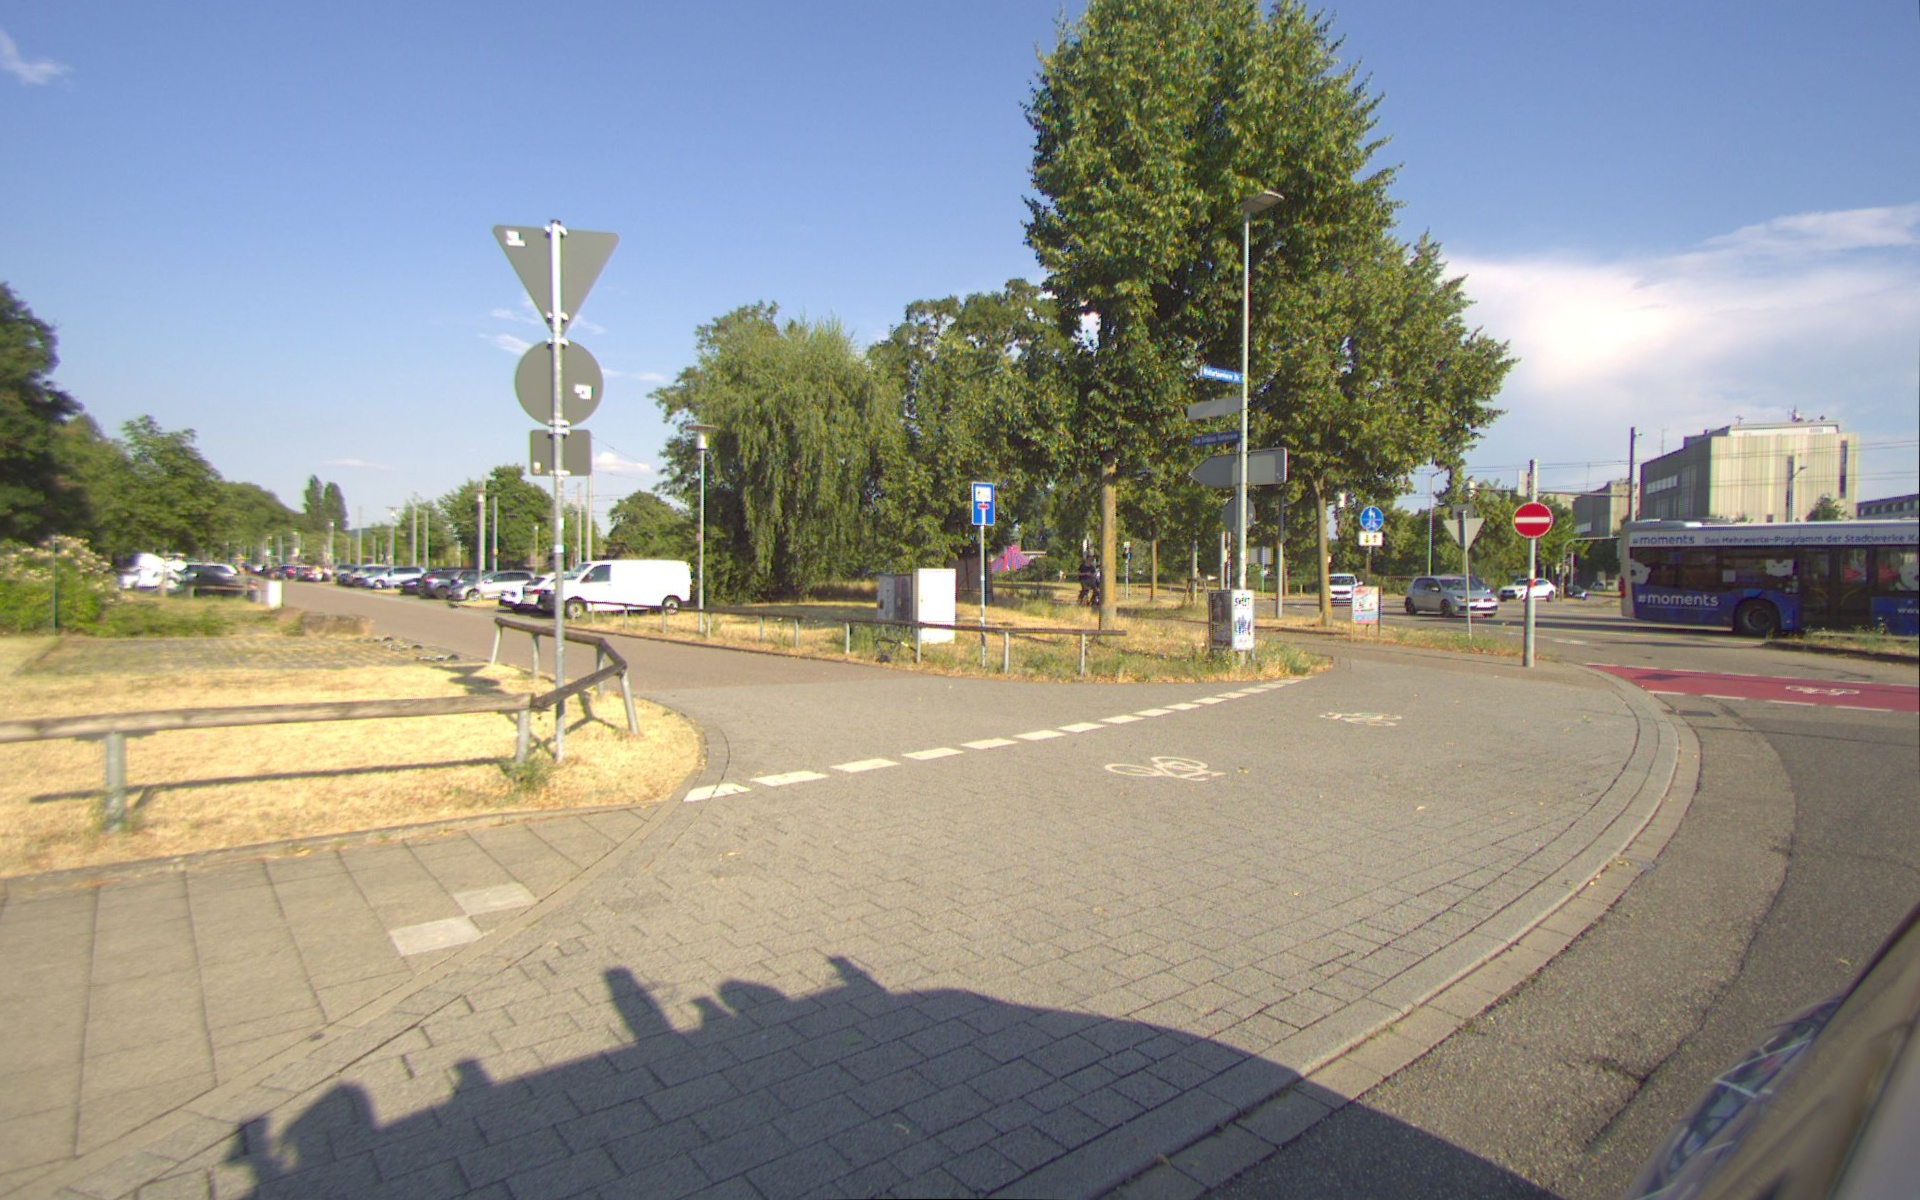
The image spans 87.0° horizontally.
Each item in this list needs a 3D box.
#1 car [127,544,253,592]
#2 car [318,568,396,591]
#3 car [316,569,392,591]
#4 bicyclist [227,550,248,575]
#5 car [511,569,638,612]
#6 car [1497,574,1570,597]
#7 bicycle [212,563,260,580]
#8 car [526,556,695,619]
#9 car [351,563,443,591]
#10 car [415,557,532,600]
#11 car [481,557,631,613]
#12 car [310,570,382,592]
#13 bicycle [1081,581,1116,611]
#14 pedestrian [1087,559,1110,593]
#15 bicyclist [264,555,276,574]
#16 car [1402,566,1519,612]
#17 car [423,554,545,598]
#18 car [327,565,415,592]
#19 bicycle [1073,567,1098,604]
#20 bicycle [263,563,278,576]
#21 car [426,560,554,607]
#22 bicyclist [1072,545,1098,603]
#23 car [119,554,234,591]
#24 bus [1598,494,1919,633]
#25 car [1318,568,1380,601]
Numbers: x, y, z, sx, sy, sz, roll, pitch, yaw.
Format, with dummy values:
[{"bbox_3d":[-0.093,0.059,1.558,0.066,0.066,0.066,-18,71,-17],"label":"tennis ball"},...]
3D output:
[{"bbox_3d":[-30.879,-1.262,40.620,3.930,1.816,1.891,0,2,-41],"label":"car"},{"bbox_3d":[-46.671,-1.574,78.368,4.968,1.724,2.267,-1,2,-39],"label":"car"},{"bbox_3d":[-48.833,-1.599,81.587,4.968,1.724,2.267,-1,2,-39],"label":"car"},{"bbox_3d":[-47.996,-2.503,67.231,0.915,1.612,0.826,1,1,-19],"label":"bicyclist"},{"bbox_3d":[-13.996,-0.373,36.836,3.929,1.461,1.869,-1,2,-40],"label":"car"},{"bbox_3d":[36.955,-0.938,65.229,4.497,1.401,2.097,0,2,-30],"label":"car"},{"bbox_3d":[-48.050,-1.884,67.160,2.485,1.094,0.678,0,1,-22],"label":"bicycle"},{"bbox_3d":[-12.101,-0.506,35.226,5.126,2.038,2.267,-2,3,-39],"label":"car"},{"bbox_3d":[-36.724,-1.490,66.039,4.968,1.724,2.267,-1,2,-39],"label":"car"},{"bbox_3d":[-24.651,-1.109,51.331,4.968,2.038,2.267,-1,2,-39],"label":"car"},{"bbox_3d":[-15.644,-0.619,39.300,4.968,2.038,2.267,-1,2,-39],"label":"car"},{"bbox_3d":[-51.432,-1.614,84.828,4.968,1.724,2.267,-1,2,-39],"label":"car"},{"bbox_3d":[5.952,-0.179,43.466,0.532,1.066,1.889,10,11,37],"label":"bicycle"},{"bbox_3d":[5.946,-1.039,43.357,0.649,1.408,0.757,3,2,37],"label":"pedestrian"},{"bbox_3d":[-57.272,-2.969,83.974,0.737,1.544,0.892,0,2,-43],"label":"bicyclist"},{"bbox_3d":[18.034,-0.430,36.703,1.960,1.542,4.005,1,2,-5],"label":"car"},{"bbox_3d":[-22.982,-1.162,48.982,4.968,2.038,2.267,-1,2,-39],"label":"car"},{"bbox_3d":[-40.341,-1.482,69.345,4.968,1.724,2.267,-1,2,-39],"label":"car"},{"bbox_3d":[3.970,-0.465,32.048,0.629,1.137,2.124,1,1,3],"label":"bicycle"},{"bbox_3d":[-57.166,-2.538,83.891,0.611,1.089,2.400,0,2,-43],"label":"bicycle"},{"bbox_3d":[-21.606,-0.805,46.616,4.968,2.038,2.267,-1,2,-39],"label":"car"},{"bbox_3d":[3.979,-0.824,32.157,0.715,1.823,0.938,1,1,2],"label":"bicyclist"},{"bbox_3d":[-34.328,-1.199,44.380,3.930,1.549,1.997,0,2,-41],"label":"car"},{"bbox_3d":[22.143,-0.839,24.061,2.612,3.099,12.200,0,2,-27],"label":"bus"},{"bbox_3d":[19.504,-0.788,50.620,1.901,1.570,3.995,2,2,36],"label":"car"}]
